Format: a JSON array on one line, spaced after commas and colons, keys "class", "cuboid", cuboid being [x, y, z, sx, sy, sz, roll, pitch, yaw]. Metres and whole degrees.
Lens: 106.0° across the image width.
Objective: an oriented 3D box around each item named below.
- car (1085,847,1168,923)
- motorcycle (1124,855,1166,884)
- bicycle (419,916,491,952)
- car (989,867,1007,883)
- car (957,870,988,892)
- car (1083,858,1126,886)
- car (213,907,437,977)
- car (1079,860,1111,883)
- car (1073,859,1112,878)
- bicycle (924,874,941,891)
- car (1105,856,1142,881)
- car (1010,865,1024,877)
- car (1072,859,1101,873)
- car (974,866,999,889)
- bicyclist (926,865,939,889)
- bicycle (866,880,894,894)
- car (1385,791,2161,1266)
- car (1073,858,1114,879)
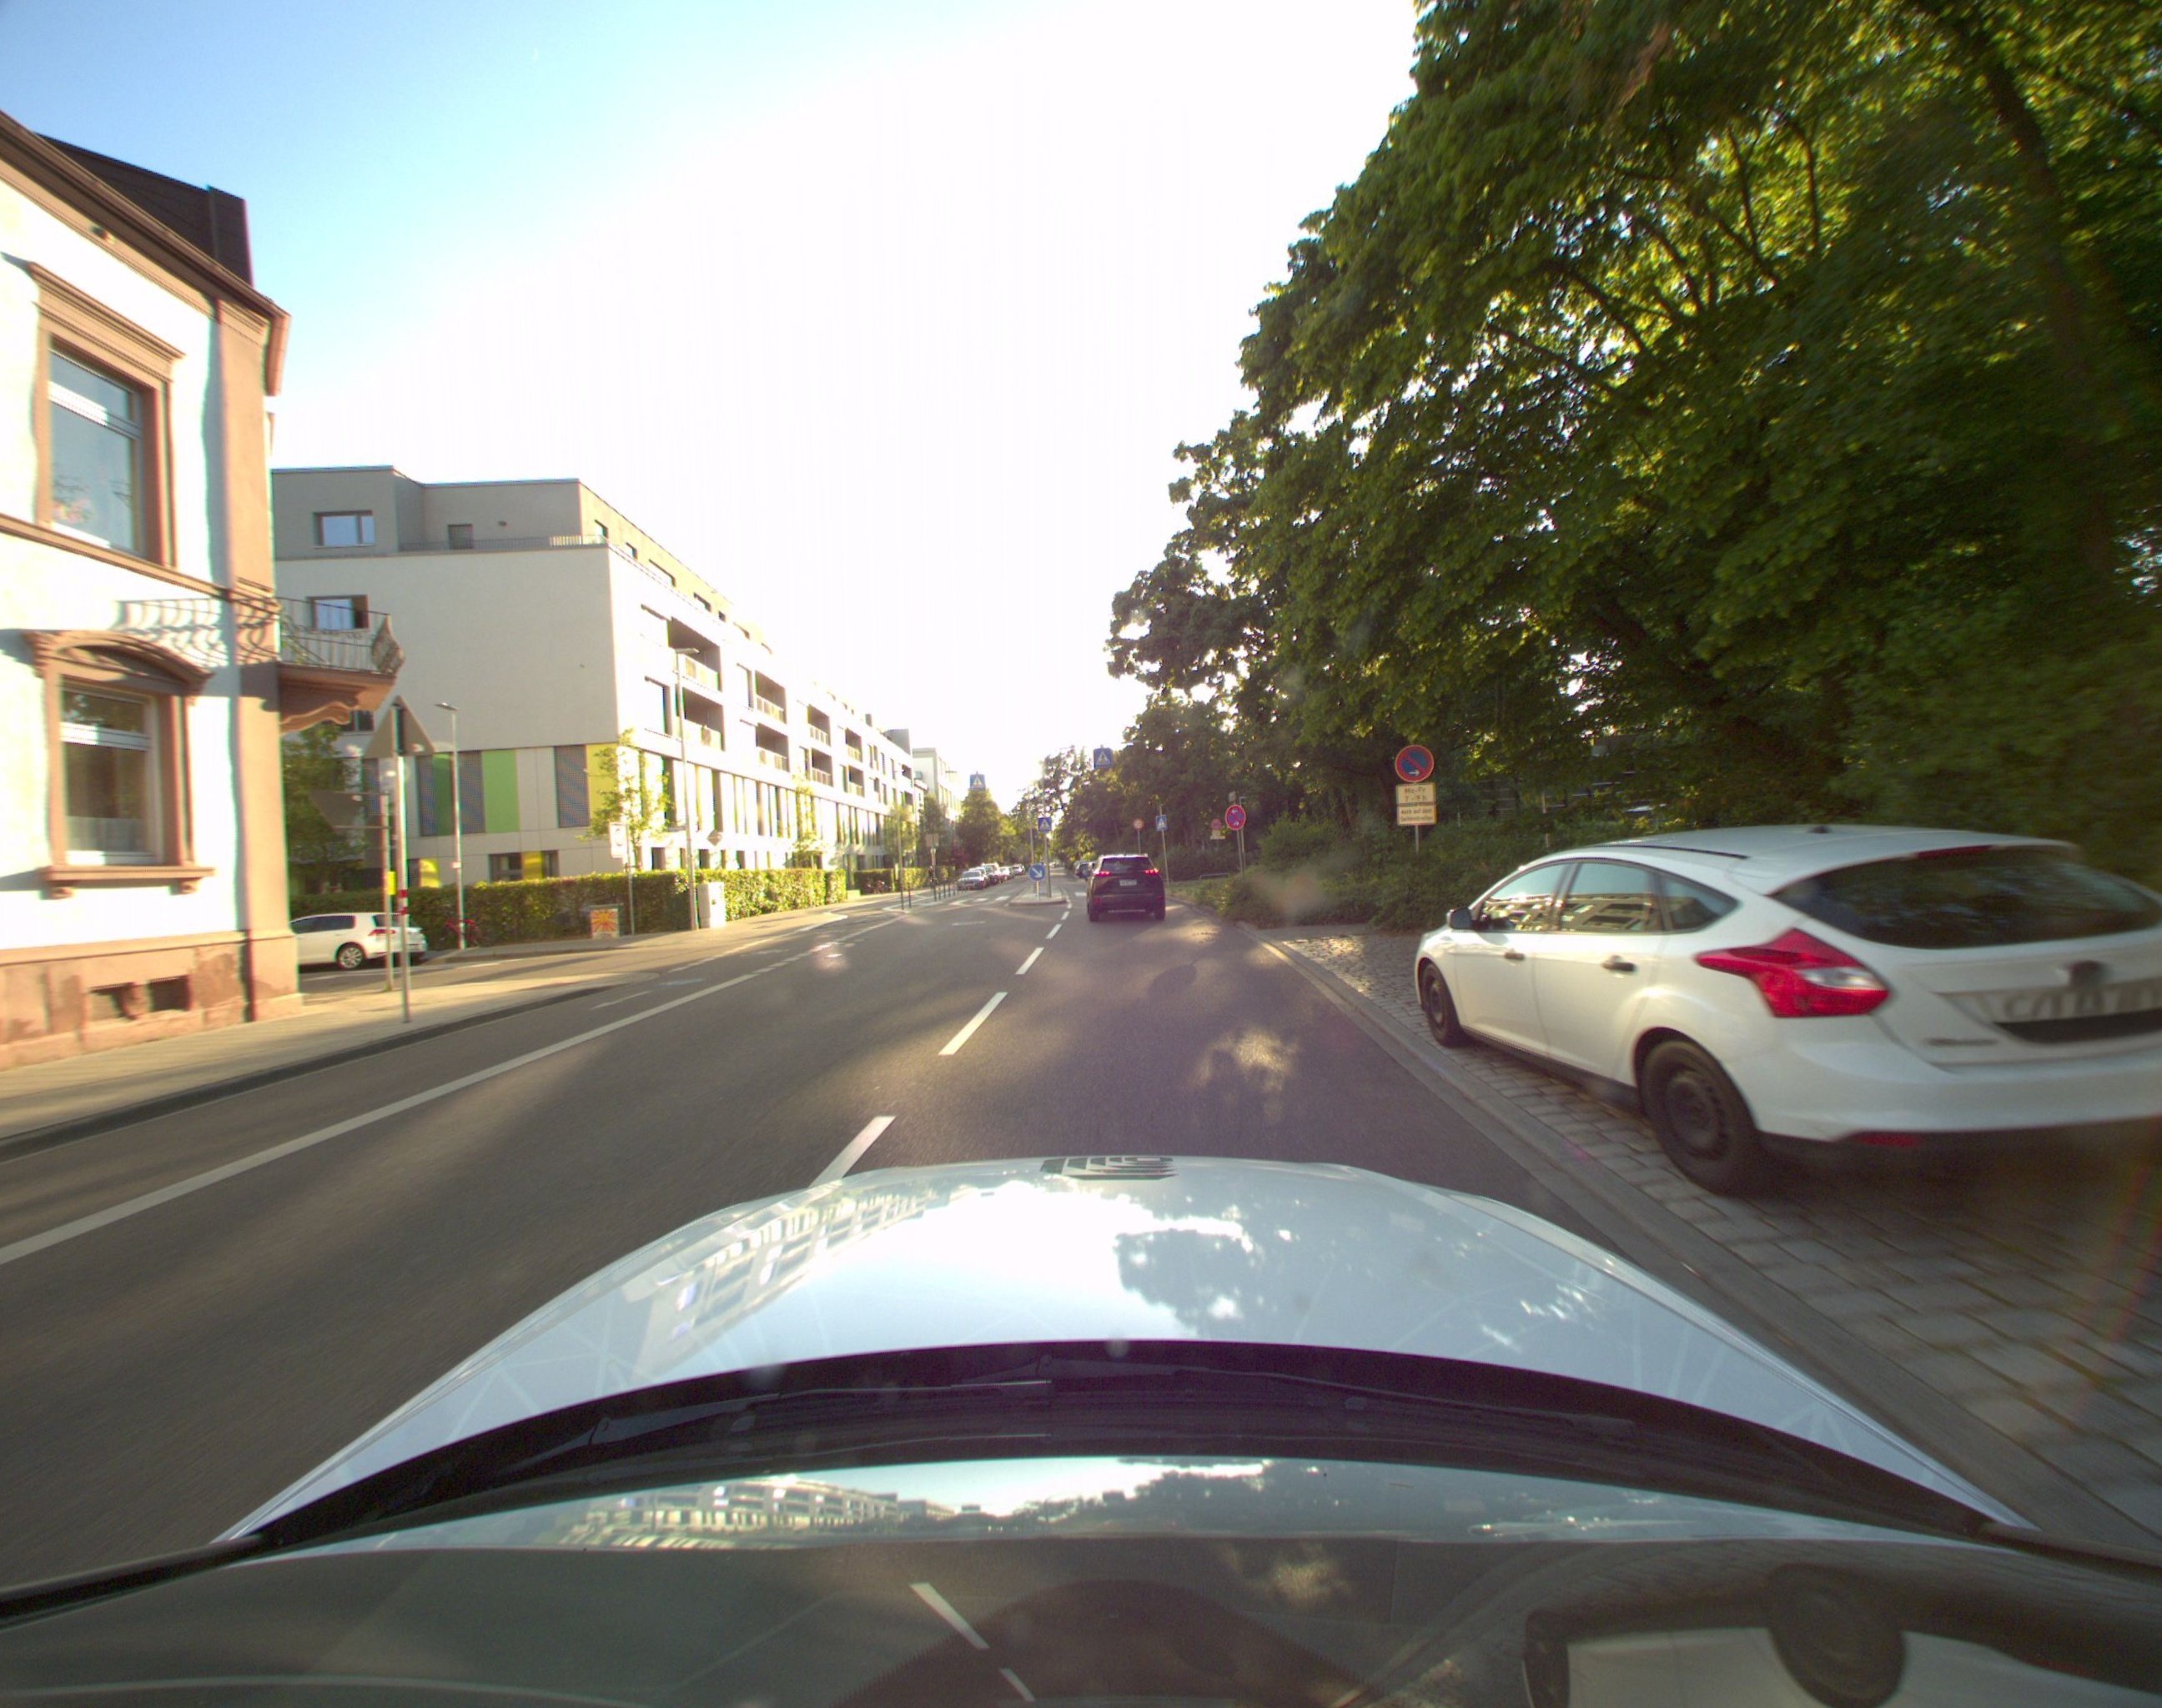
[{"class": "car", "cuboid": [1.037, 0.698, 19.806, 1.762, 1.568, 3.380, -4, 0, 1]}, {"class": "motorcycle", "cuboid": [3.753, 0.895, 47.670, 2.278, 1.545, 1.042, -4, -1, 9]}, {"class": "bicycle", "cuboid": [-18.152, 2.326, 23.625, 1.594, 0.892, 0.511, -4, -1, -4]}, {"class": "car", "cuboid": [-8.602, 2.155, 84.747, 1.595, 1.455, 3.857, -4, -1, -3]}, {"class": "car", "cuboid": [-7.780, 1.911, 58.758, 1.737, 1.356, 4.393, -4, -1, -2]}, {"class": "car", "cuboid": [1.602, 1.245, 56.931, 1.923, 1.748, 4.648, -4, -1, -11]}, {"class": "car", "cuboid": [-19.053, 2.214, 20.664, 3.894, 1.439, 1.817, -4, -5, -1]}, {"class": "car", "cuboid": [1.023, 1.295, 61.885, 1.650, 1.567, 4.288, -4, -1, -8]}, {"class": "car", "cuboid": [1.113, 1.445, 80.580, 3.660, 1.444, 1.732, -7, 0, -4]}, {"class": "bicycle", "cuboid": [-10.533, 2.032, 57.909, 0.630, 1.078, 1.886, -4, -1, 6]}, {"class": "car", "cuboid": [2.709, 0.941, 52.388, 1.619, 1.486, 3.408, -4, -1, -9]}, {"class": "car", "cuboid": [-9.313, 2.415, 117.871, 1.666, 1.493, 4.059, -5, 0, -1]}, {"class": "car", "cuboid": [0.811, 1.711, 117.398, 4.112, 1.667, 1.721, -4, -1, -2]}, {"class": "car", "cuboid": [-8.055, 1.969, 69.813, 1.738, 1.676, 4.412, -5, 0, -3]}, {"class": "bicyclist", "cuboid": [-10.564, 1.632, 57.951, 0.623, 1.644, 0.759, -4, -1, 5]}, {"class": "bicycle", "cuboid": [-13.583, 2.224, 55.005, 1.748, 0.918, 0.616, -2, -1, -4]}, {"class": "car", "cuboid": [3.410, 0.560, 4.746, 1.741, 1.486, 4.177, -4, 0, 1]}, {"class": "car", "cuboid": [1.192, 1.399, 78.204, 3.603, 1.525, 1.669, -7, 0, -4]}]
